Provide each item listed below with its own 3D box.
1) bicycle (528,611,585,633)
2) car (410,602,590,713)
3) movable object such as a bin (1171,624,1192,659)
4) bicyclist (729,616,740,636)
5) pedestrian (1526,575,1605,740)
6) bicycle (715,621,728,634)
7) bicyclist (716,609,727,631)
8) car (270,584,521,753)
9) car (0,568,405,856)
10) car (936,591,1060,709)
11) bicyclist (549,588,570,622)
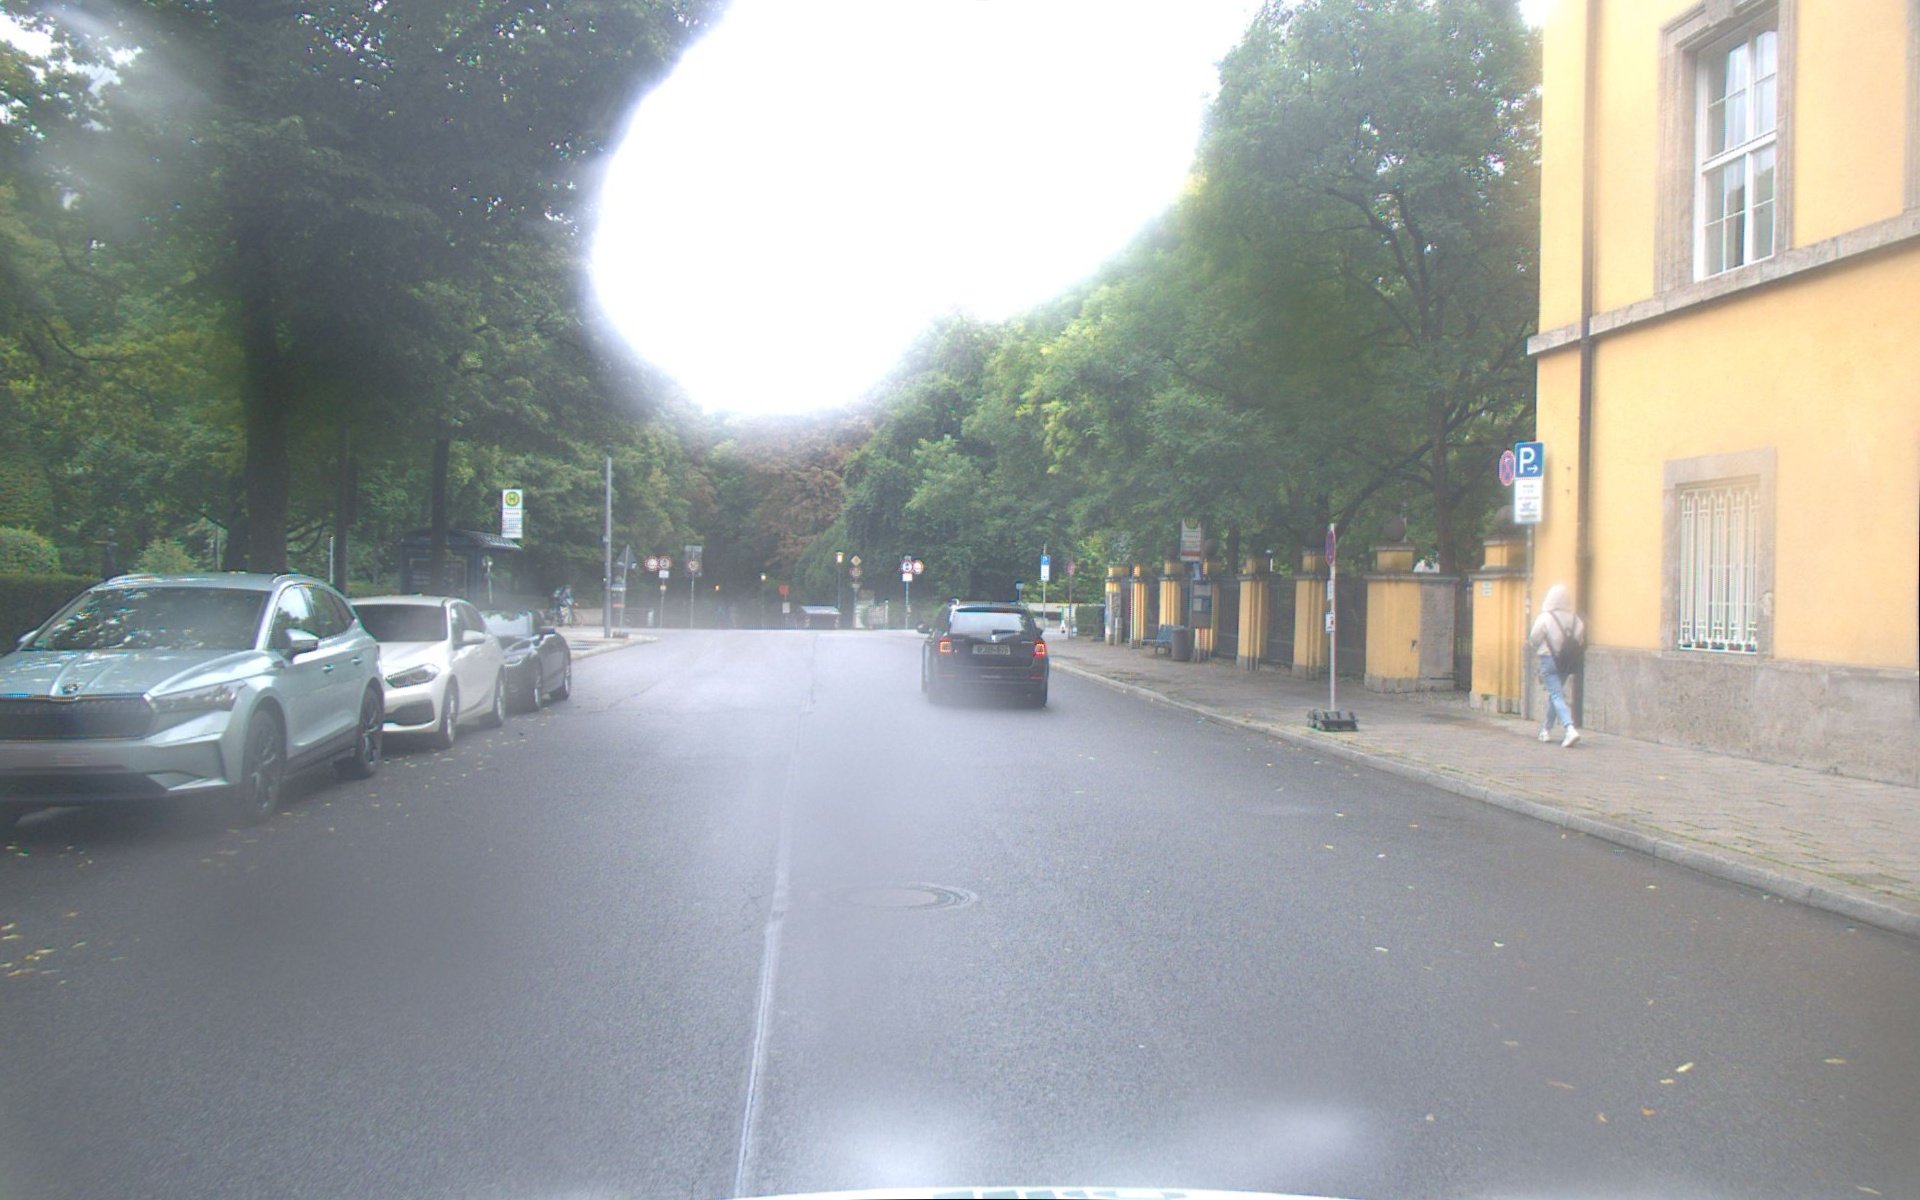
[{"bbox_3d":[-15.919,0.856,65.265,2.089,0.844,0.672,1,-1,-39],"label":"bicycle"},{"bbox_3d":[-6.163,0.713,22.548,1.546,1.366,4.041,1,0,-4],"label":"car"},{"bbox_3d":[5.109,0.948,38.161,0.389,0.794,0.465,0,0,-3],"label":"movable object such as a bin"},{"bbox_3d":[-13.859,1.622,101.644,0.668,1.208,0.480,0,0,-9],"label":"bicyclist"},{"bbox_3d":[6.262,0.586,17.128,0.549,1.666,0.570,-1,0,-6],"label":"pedestrian"},{"bbox_3d":[-16.575,1.909,114.849,0.668,0.844,2.101,1,-1,-15],"label":"bicycle"},{"bbox_3d":[-16.596,1.379,115.025,0.669,1.530,0.897,0,0,-15],"label":"bicyclist"},{"bbox_3d":[-5.682,0.628,17.131,1.547,1.523,4.194,1,0,-6],"label":"car"},{"bbox_3d":[-5.351,0.640,11.643,1.780,1.629,4.507,1,0,-6],"label":"car"},{"bbox_3d":[0.495,0.693,24.760,1.546,1.611,4.042,1,0,-3],"label":"car"},{"bbox_3d":[-15.814,0.192,65.352,0.593,1.305,0.674,1,0,-38],"label":"bicyclist"}]
